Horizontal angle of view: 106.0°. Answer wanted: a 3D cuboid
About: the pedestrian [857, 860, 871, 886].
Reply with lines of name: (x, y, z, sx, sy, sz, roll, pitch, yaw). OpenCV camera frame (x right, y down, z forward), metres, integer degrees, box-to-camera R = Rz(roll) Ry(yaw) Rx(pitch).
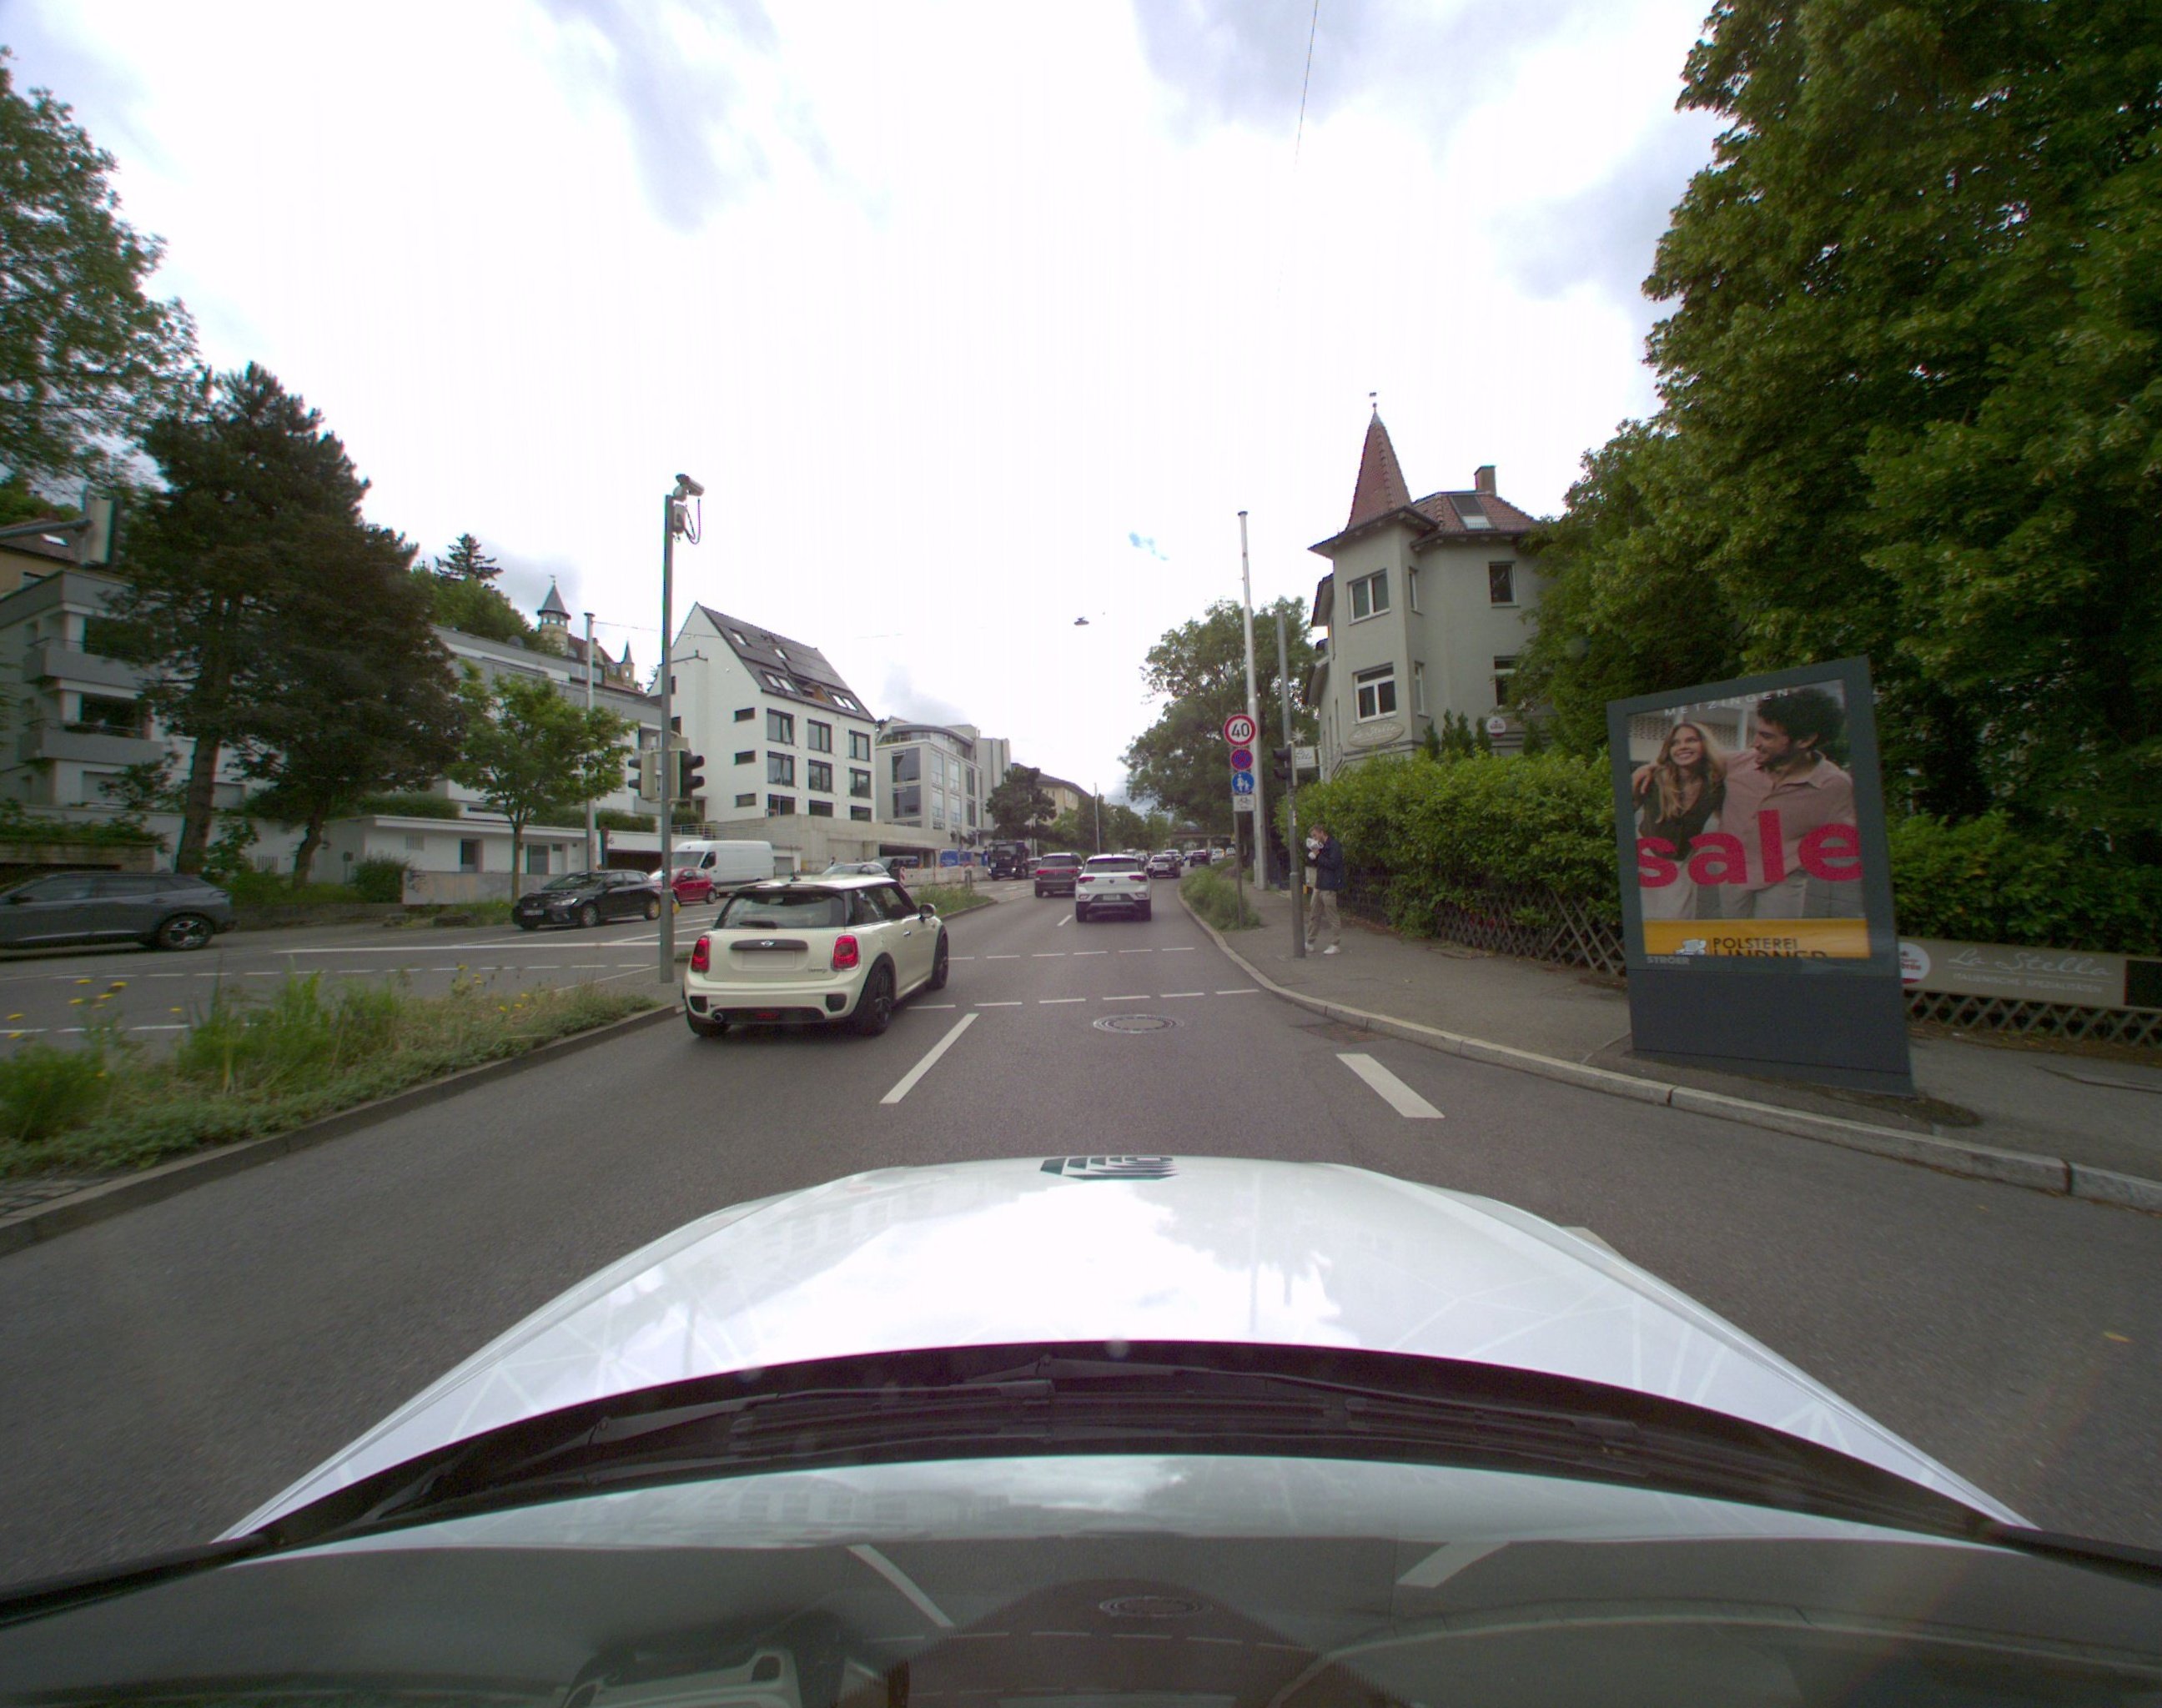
pedestrian: (-13.753, 1.202, 51.625, 0.679, 1.640, 0.664, 0, 0, -37)

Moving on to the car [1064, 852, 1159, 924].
car: (0.653, 0.773, 20.115, 1.809, 1.539, 3.682, -3, 0, -5)

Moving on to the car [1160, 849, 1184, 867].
car: (9.123, 0.420, 81.336, 1.846, 1.652, 4.651, -3, 0, 11)

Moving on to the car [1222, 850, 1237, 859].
car: (26.541, 0.117, 145.535, 1.977, 1.500, 4.058, -3, 0, 2)

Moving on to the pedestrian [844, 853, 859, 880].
pedestrian: (-13.940, 0.741, 49.398, 0.679, 1.640, 0.664, 0, 0, -37)

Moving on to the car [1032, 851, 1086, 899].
car: (-0.786, 0.772, 31.664, 1.806, 1.652, 4.636, -3, 0, 1)

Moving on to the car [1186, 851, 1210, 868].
car: (11.048, 0.494, 76.652, 1.860, 1.501, 4.570, 1, -1, 12)

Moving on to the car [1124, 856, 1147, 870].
car: (5.924, 0.993, 87.962, 1.830, 1.393, 4.299, -2, 0, 13)

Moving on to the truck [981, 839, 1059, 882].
truck: (-4.413, 0.430, 61.355, 2.939, 2.971, 9.014, -1, 0, 15)

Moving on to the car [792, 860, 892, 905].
car: (-8.682, 0.999, 30.035, 1.681, 1.501, 4.567, -1, 0, 9)

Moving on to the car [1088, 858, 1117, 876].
car: (1.999, 1.121, 73.794, 1.684, 1.496, 4.502, -1, 0, 13)

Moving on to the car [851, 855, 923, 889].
car: (-12.029, 1.079, 50.936, 1.967, 1.967, 5.240, -2, 0, 16)

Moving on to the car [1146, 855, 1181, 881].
car: (5.152, 0.856, 50.533, 1.862, 1.501, 4.567, 1, -1, 9)

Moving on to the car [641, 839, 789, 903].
car: (-16.471, 0.703, 37.356, 2.217, 2.568, 7.445, -2, 0, 11)

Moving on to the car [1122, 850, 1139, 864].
car: (8.428, 0.468, 137.749, 2.055, 2.305, 5.481, -2, 0, 11)

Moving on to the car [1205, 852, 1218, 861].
car: (23.601, 0.381, 147.080, 1.850, 1.500, 4.060, -3, 0, 4)

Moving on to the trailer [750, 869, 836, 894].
trailer: (-15.188, 1.423, 43.269, 2.232, 1.112, 4.637, -2, 0, 11)

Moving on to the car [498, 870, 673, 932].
car: (-12.592, 1.131, 21.002, 1.615, 1.393, 3.868, 0, 0, 11)

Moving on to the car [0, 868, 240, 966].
car: (-18.368, 1.111, 14.685, 1.578, 1.540, 4.159, -2, 0, 31)

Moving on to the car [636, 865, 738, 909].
car: (-15.018, 1.220, 31.295, 1.613, 1.465, 3.934, -2, 0, 7)

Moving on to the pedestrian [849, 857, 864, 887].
pedestrian: (-13.936, 1.094, 50.535, 0.679, 1.840, 0.664, 0, 0, -37)

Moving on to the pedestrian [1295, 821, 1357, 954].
pedestrian: (3.489, 0.469, 11.627, 0.690, 1.834, 0.620, -1, -1, 2)

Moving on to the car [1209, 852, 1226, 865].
car: (17.488, 0.544, 104.387, 1.846, 1.500, 4.069, -3, 0, 12)

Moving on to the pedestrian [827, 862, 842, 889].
pedestrian: (-14.955, 1.281, 49.374, 0.620, 1.640, 0.675, 0, 0, 19)

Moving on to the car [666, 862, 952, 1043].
car: (-2.533, 0.827, 8.506, 1.622, 1.393, 3.567, -3, 0, 2)
